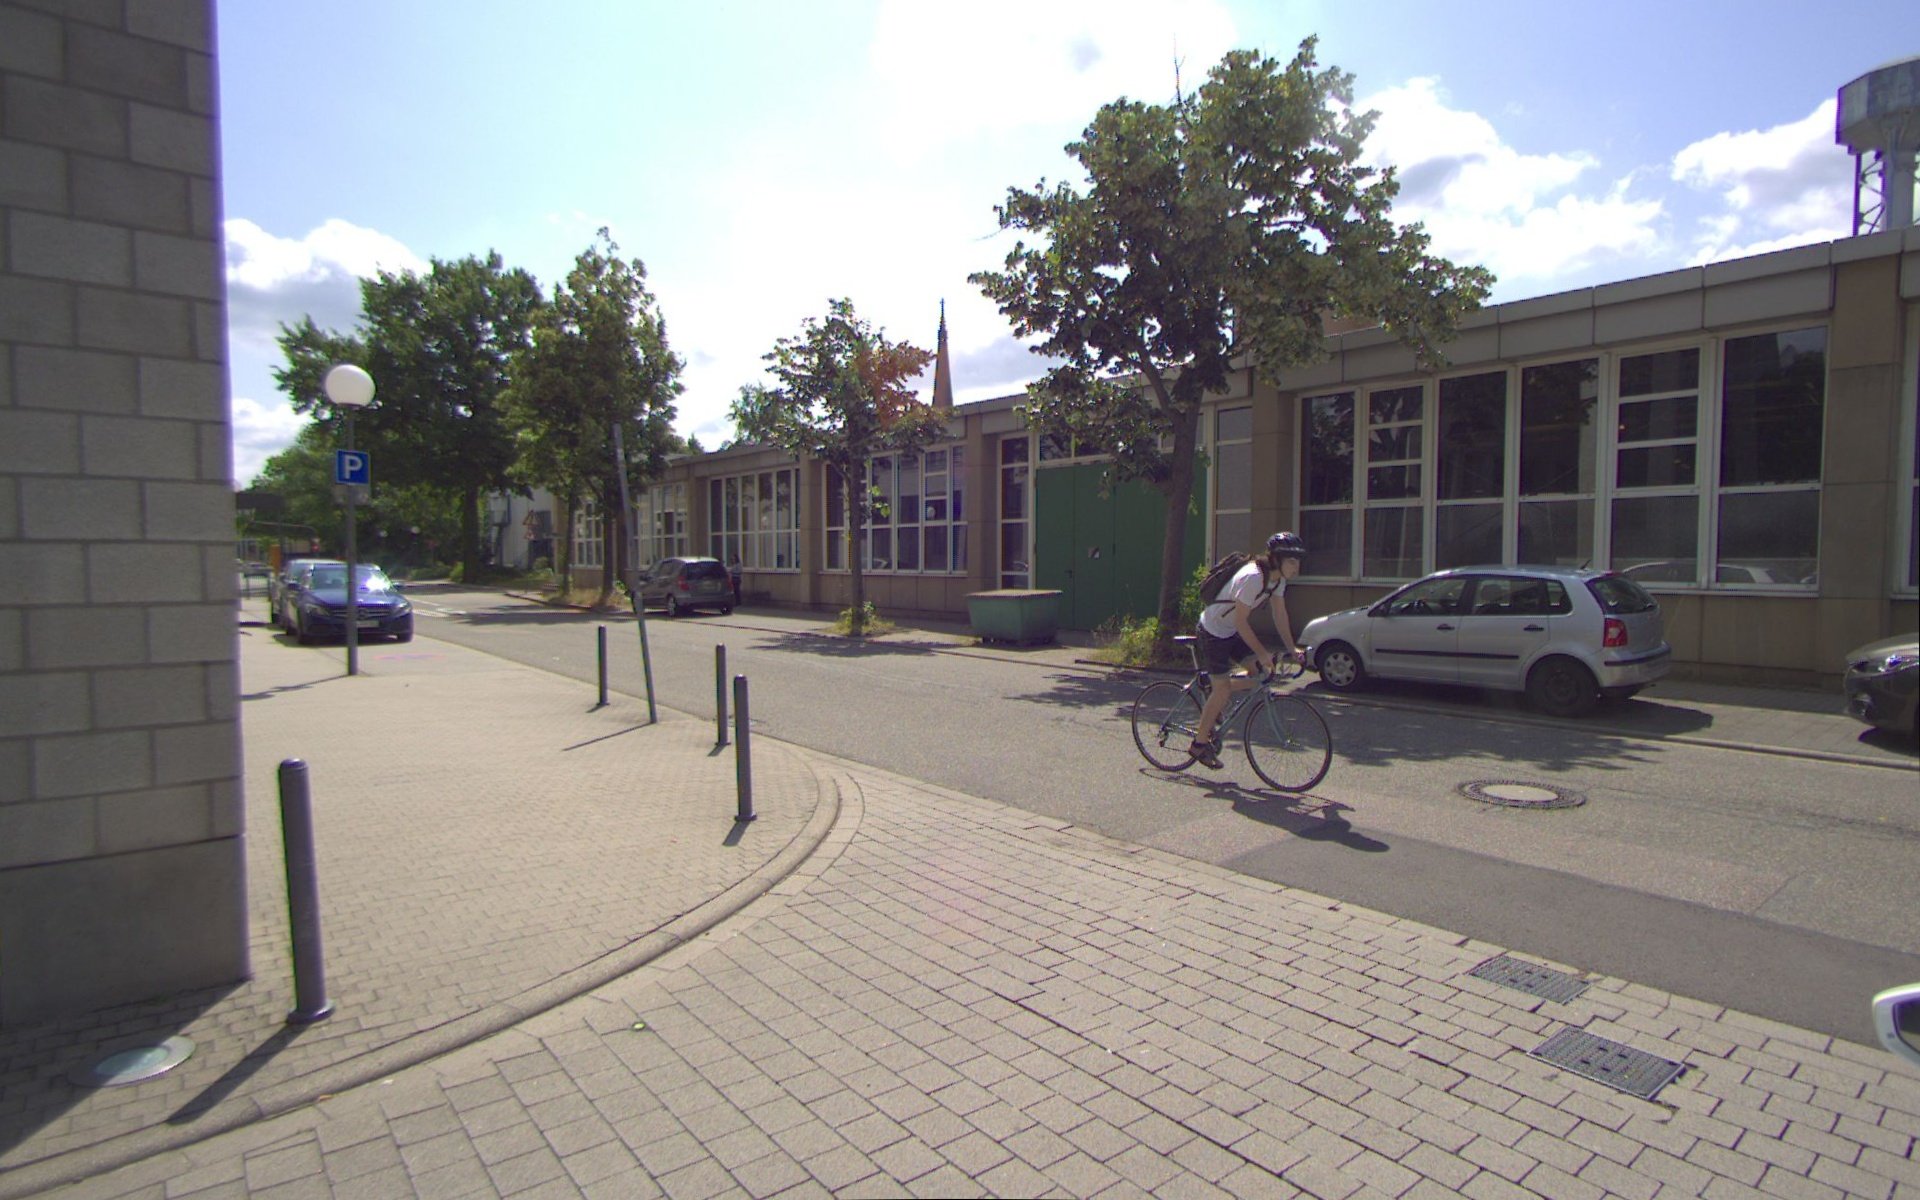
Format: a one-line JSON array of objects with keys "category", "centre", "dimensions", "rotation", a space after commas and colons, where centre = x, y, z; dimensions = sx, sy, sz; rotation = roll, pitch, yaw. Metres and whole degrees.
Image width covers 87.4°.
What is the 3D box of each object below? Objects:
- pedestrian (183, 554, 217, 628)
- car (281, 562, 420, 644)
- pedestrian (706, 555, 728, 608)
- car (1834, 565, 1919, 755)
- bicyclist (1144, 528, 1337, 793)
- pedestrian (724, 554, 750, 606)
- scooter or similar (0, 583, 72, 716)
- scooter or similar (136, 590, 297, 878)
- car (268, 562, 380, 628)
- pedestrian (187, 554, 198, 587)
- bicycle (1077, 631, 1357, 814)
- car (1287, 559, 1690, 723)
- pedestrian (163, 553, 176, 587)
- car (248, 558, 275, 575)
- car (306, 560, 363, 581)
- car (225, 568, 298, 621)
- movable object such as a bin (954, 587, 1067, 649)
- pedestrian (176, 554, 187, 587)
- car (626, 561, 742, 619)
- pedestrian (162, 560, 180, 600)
[{"category": "pedestrian", "centre": [-16.955, -0.199, 22.408], "dimensions": [0.547, 1.602, 0.598], "rotation": [0, 1, -42]}, {"category": "car", "centre": [-11.875, 0.033, 19.462], "dimensions": [1.828, 1.417, 3.834], "rotation": [0, 1, -39]}, {"category": "pedestrian", "centre": [-7.471, -0.558, 30.910], "dimensions": [0.594, 1.602, 0.550], "rotation": [1, 1, -9]}, {"category": "car", "centre": [9.289, 0.483, 7.291], "dimensions": [1.716, 1.455, 4.240], "rotation": [-5, 4, -39]}, {"category": "bicyclist", "centre": [1.953, 0.359, 7.033], "dimensions": [0.714, 1.685, 1.081], "rotation": [-5, 5, -42]}, {"category": "pedestrian", "centre": [-7.015, -0.632, 31.544], "dimensions": [0.601, 1.602, 0.544], "rotation": [0, 1, -42]}, {"category": "scooter or similar", "centre": [-9.791, 0.456, 10.026], "dimensions": [1.480, 1.228, 0.565], "rotation": [2, 4, 10]}, {"category": "scooter or similar", "centre": [-3.848, 0.587, 5.156], "dimensions": [0.560, 1.228, 1.493], "rotation": [1, 1, -40]}, {"category": "car", "centre": [-15.049, -0.133, 23.672], "dimensions": [1.828, 1.417, 3.834], "rotation": [0, 1, -39]}, {"category": "pedestrian", "centre": [-38.499, -1.461, 50.372], "dimensions": [0.380, 1.651, 0.513], "rotation": [2, 0, -38]}, {"category": "bicycle", "centre": [1.799, 0.801, 7.259], "dimensions": [0.703, 1.007, 1.887], "rotation": [-5, 5, -42]}, {"category": "car", "centre": [5.797, 0.316, 11.369], "dimensions": [1.621, 1.469, 3.709], "rotation": [-5, 5, -39]}, {"category": "pedestrian", "centre": [-39.202, -1.485, 49.808], "dimensions": [0.437, 1.651, 0.563], "rotation": [2, 0, -38]}, {"category": "car", "centre": [-66.459, -3.176, 95.575], "dimensions": [1.789, 1.469, 3.634], "rotation": [-5, 5, -39]}, {"category": "car", "centre": [-51.200, -2.418, 82.284], "dimensions": [3.647, 1.469, 1.783], "rotation": [-6, 5, -41]}, {"category": "car", "centre": [-24.461, -0.200, 35.124], "dimensions": [1.785, 1.724, 3.955], "rotation": [2, 0, -39]}, {"category": "movable object such as a bin", "centre": [0.917, 0.304, 18.448], "dimensions": [1.284, 0.998, 1.677], "rotation": [-5, 4, -38]}, {"category": "pedestrian", "centre": [-38.828, -1.472, 50.094], "dimensions": [0.380, 1.651, 0.513], "rotation": [2, 0, -38]}, {"category": "car", "centre": [-7.885, -0.341, 28.498], "dimensions": [1.789, 1.469, 3.633], "rotation": [-5, 5, -39]}, {"category": "pedestrian", "centre": [-28.760, -0.732, 36.613], "dimensions": [0.460, 1.427, 0.461], "rotation": [2, 0, -34]}]
